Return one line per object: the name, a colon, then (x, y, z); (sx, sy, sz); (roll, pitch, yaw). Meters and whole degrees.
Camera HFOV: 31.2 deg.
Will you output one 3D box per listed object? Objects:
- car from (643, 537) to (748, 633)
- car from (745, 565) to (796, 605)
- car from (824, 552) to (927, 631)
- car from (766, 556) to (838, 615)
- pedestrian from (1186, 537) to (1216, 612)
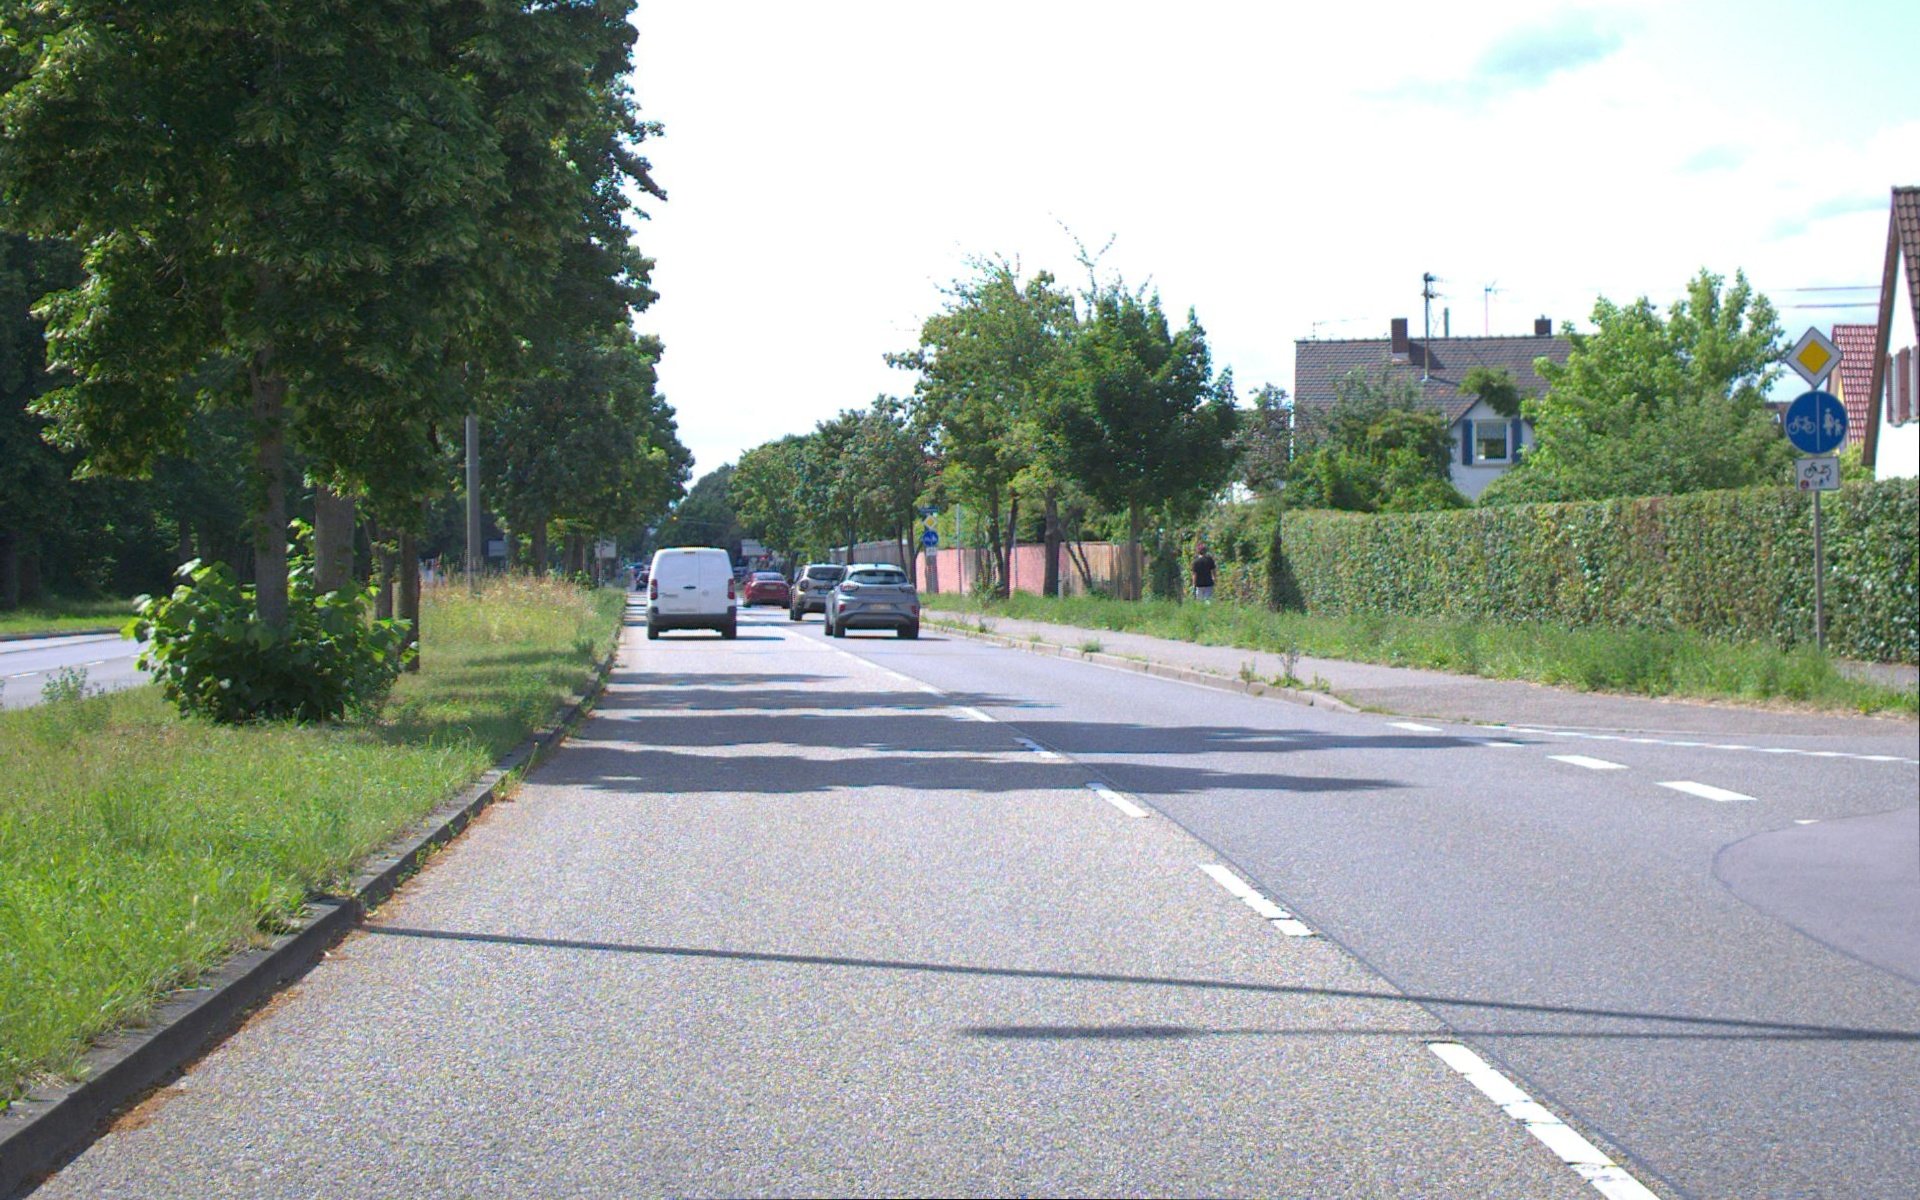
car: (-5.443, -0.331, 70.419); (2.065, 1.905, 4.647); (0, 1, -5)
car: (-7.553, -0.610, 136.776); (1.880, 1.581, 4.001); (0, 1, -5)
car: (-1.802, -0.194, 72.070); (1.875, 1.583, 4.185); (0, 1, -5)
car: (-4.529, -0.419, 98.242); (1.875, 1.646, 4.001); (0, 1, -5)
pedestrian: (5.368, -0.566, 76.573); (0.560, 1.671, 0.634); (0, 1, -6)
